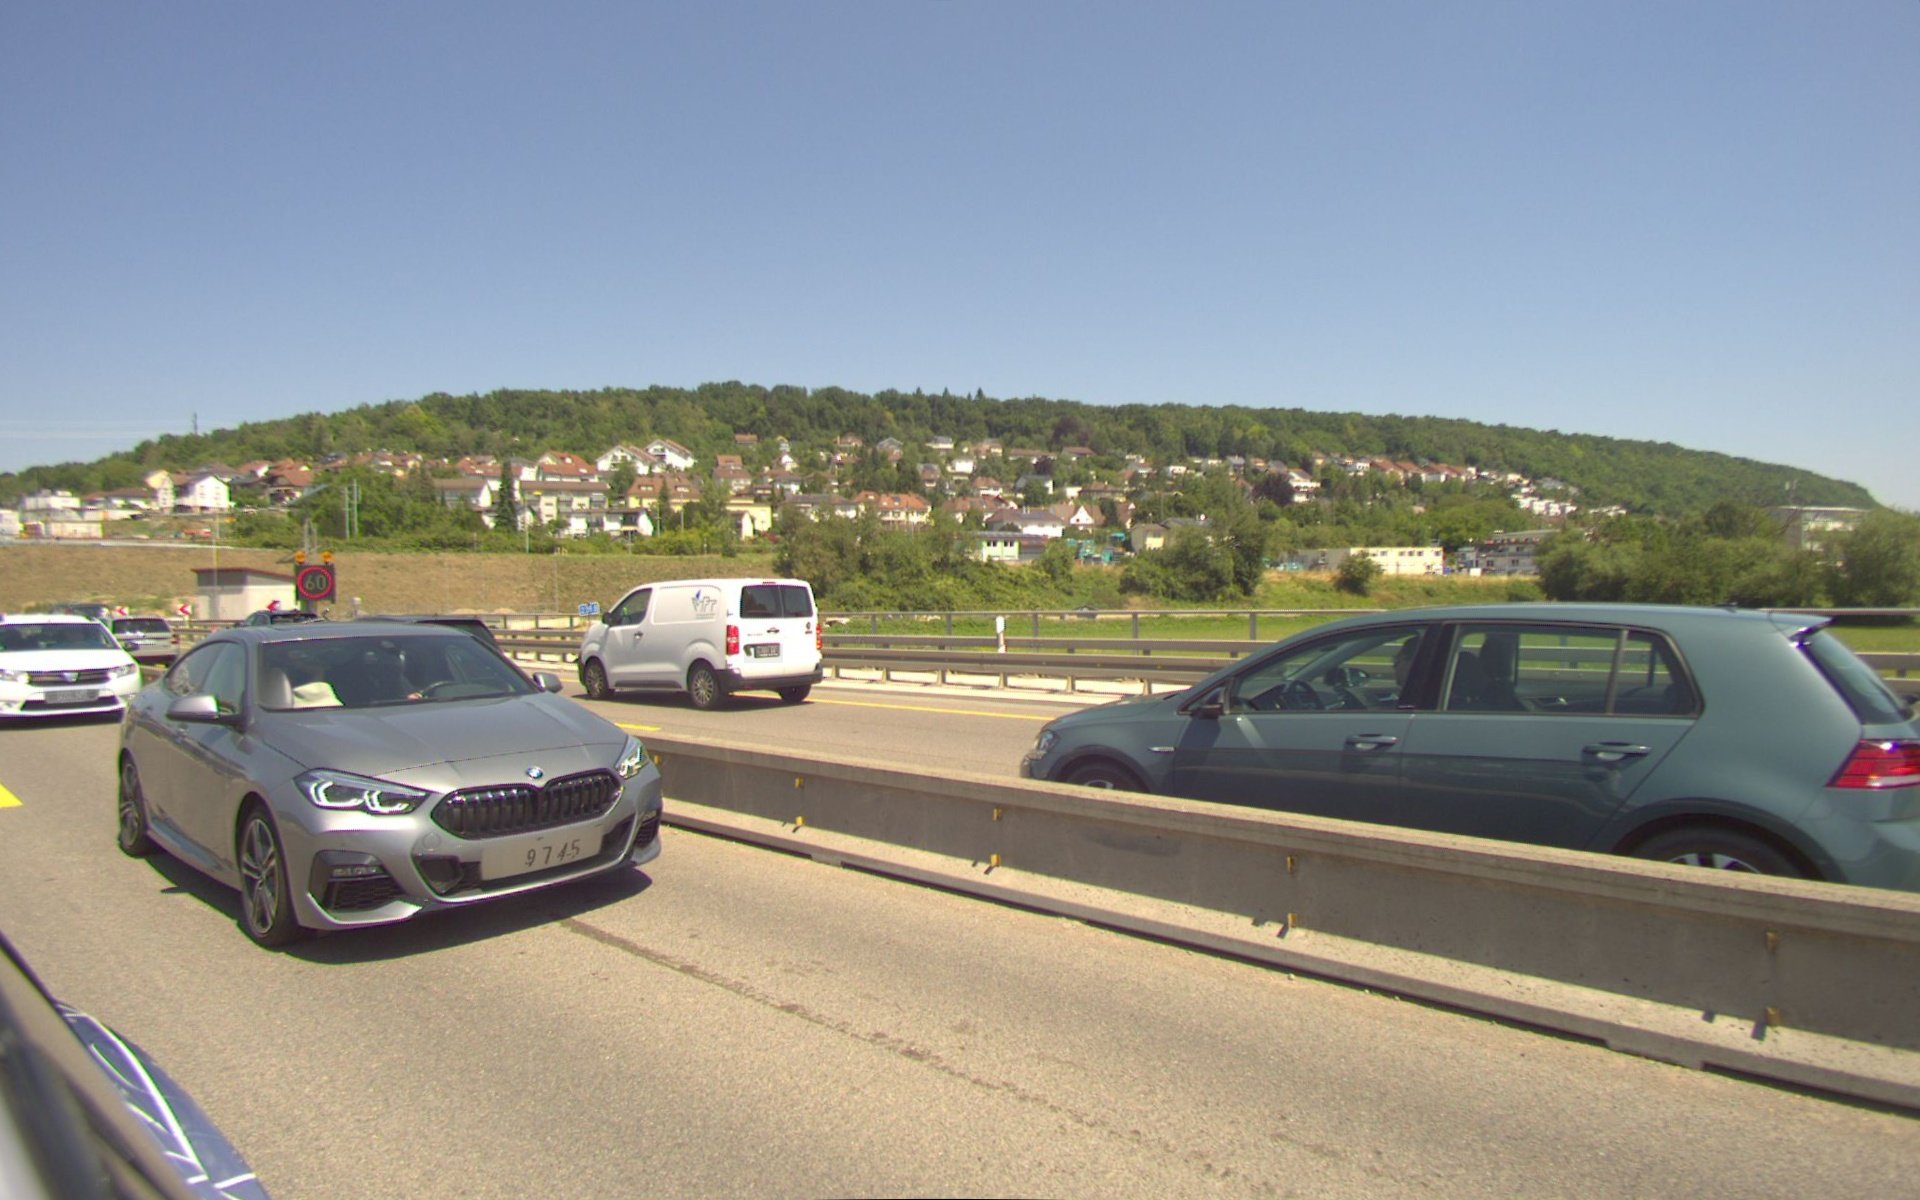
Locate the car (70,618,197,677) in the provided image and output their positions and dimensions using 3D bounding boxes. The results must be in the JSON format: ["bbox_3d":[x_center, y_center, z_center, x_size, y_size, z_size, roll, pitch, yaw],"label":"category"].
[{"bbox_3d":[-21.759,1.217,26.582,4.654,1.429,1.807,-2,-2,41],"label":"car"}]

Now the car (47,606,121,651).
[{"bbox_3d":[-41.658,1.358,48.100,4.935,1.948,1.904,-2,1,41],"label":"car"}]

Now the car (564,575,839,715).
[{"bbox_3d":[-4.157,0.659,15.862,4.625,1.882,1.840,-1,-2,40],"label":"car"}]

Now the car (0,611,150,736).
[{"bbox_3d":[-13.479,0.955,14.833,4.705,1.542,1.799,0,0,42],"label":"car"}]

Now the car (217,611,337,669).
[{"bbox_3d":[-19.952,1.143,29.503,3.995,1.581,1.796,-1,-2,39],"label":"car"}]

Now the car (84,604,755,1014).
[{"bbox_3d":[-3.410,0.797,5.864,4.738,1.463,1.833,-2,-1,40],"label":"car"}]

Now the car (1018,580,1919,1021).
[{"bbox_3d":[2.394,0.697,4.940,4.100,1.419,1.614,-2,-2,41],"label":"car"}]

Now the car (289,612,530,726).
[{"bbox_3d":[-7.930,0.909,14.415,4.153,1.402,1.661,-2,-2,41],"label":"car"}]

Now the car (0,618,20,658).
[{"bbox_3d":[-40.860,1.581,42.382,4.082,1.594,1.723,-1,-1,40],"label":"car"}]
